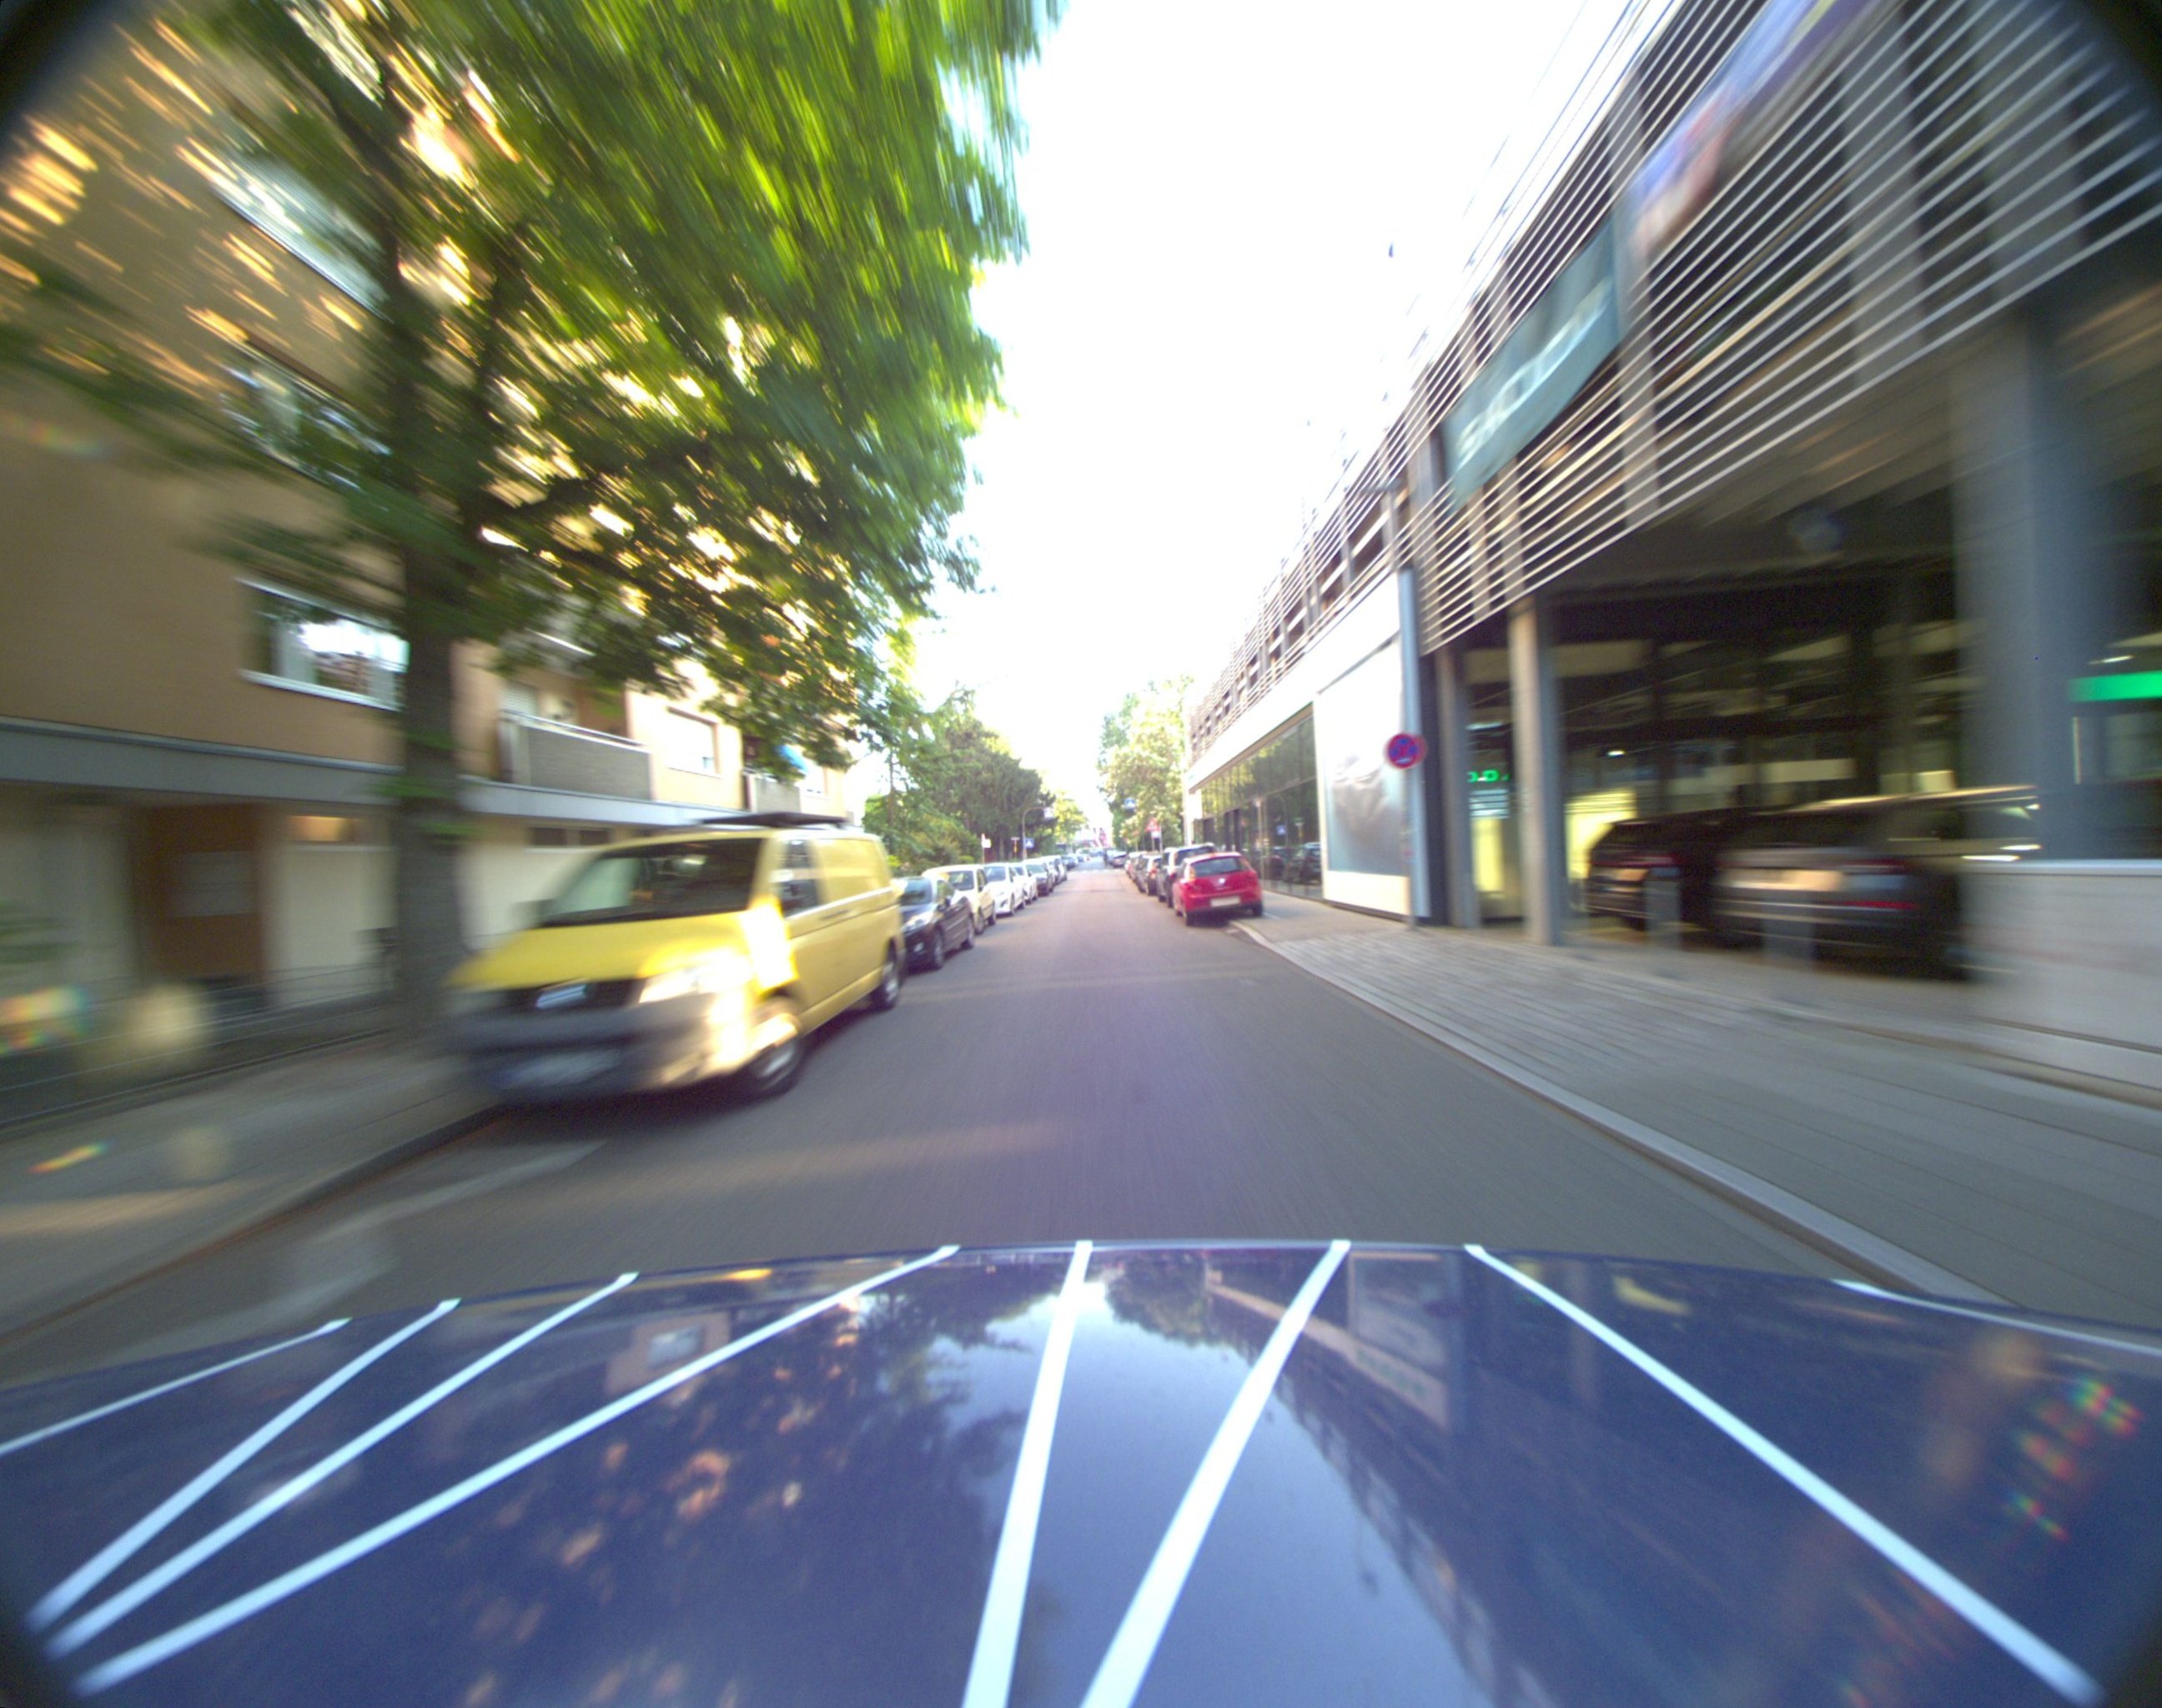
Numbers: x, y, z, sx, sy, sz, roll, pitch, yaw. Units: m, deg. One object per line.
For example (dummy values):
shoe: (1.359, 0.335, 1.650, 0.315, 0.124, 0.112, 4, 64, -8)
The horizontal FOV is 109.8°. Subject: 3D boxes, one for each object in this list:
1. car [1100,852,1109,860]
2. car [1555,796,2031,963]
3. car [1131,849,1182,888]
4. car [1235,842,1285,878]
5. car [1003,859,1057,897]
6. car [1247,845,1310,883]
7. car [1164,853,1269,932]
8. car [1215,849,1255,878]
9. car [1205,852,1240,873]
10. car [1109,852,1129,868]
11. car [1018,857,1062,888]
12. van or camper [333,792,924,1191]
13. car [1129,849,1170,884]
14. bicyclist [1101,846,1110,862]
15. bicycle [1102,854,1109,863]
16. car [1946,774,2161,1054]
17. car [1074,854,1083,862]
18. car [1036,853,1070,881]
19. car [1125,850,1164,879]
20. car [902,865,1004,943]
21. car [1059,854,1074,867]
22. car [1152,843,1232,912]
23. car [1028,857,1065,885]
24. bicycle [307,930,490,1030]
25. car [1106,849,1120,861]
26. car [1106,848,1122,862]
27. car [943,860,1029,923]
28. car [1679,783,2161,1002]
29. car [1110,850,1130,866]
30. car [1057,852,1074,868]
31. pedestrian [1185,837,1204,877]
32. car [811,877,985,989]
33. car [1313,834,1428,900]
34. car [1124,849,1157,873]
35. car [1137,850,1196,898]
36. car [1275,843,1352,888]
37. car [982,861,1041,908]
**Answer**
car: (5.169, 0.446, 166.266, 1.786, 1.772, 4.012, -2, 0, -1)
car: (8.578, 0.302, 9.491, 4.052, 1.674, 1.860, -3, 0, 2)
car: (3.352, 0.617, 34.271, 1.733, 1.394, 4.006, -8, 0, 0)
car: (9.045, 0.300, 38.670, 1.597, 1.640, 3.876, -3, 0, 1)
car: (-2.099, 0.957, 32.388, 1.814, 1.408, 4.626, -3, 0, 1)
car: (8.721, 0.410, 33.872, 1.701, 1.506, 4.192, -3, 0, 1)
car: (2.937, 0.783, 17.165, 1.701, 1.497, 3.791, -3, 0, 1)
car: (9.029, 0.541, 44.875, 1.597, 1.514, 3.876, -3, 0, 1)
car: (9.300, 0.553, 50.200, 1.597, 1.286, 3.451, -3, 0, 0)
car: (4.125, 0.679, 83.442, 1.786, 1.442, 3.884, -8, 0, -1)
car: (-2.011, 0.897, 38.173, 1.814, 1.408, 3.896, -3, 0, 2)
van or camper: (-3.005, 0.781, 6.713, 2.069, 2.083, 5.091, -3, 0, 0)
car: (3.454, 0.601, 38.945, 1.665, 1.488, 3.885, -8, 0, 2)
bicyclist: (2.881, 0.022, 89.373, 0.861, 1.797, 1.016, -3, 0, 0)
bicycle: (2.914, 0.540, 89.383, 0.761, 1.090, 1.864, -2, 0, 0)
car: (8.473, 0.258, 4.660, 4.045, 1.674, 1.860, -3, 0, 2)
car: (-0.555, 0.851, 174.205, 1.999, 1.739, 4.000, -4, 0, -1)
car: (-1.703, 0.796, 47.512, 1.814, 1.566, 3.885, -3, 0, 1)
car: (3.738, 0.604, 45.065, 1.666, 1.402, 3.926, -8, 0, -2)
car: (-2.815, 1.057, 17.420, 1.613, 1.501, 3.478, -3, 0, 1)
car: (-1.775, 0.803, 95.012, 1.786, 1.491, 3.884, 1, 0, -1)
car: (3.149, 0.623, 22.391, 1.701, 1.746, 4.403, -3, 0, 1)
car: (-1.876, 0.924, 42.669, 1.721, 1.411, 4.028, -3, 0, 1)
bicycle: (-8.250, 1.479, 9.308, 0.524, 0.916, 1.835, -3, 0, 1)
car: (5.487, 0.170, 129.906, 1.964, 1.825, 3.884, -8, 0, -1)
car: (4.502, 0.153, 103.486, 1.786, 1.562, 3.884, -8, 0, -1)
car: (-2.649, 1.012, 22.114, 1.796, 1.553, 4.194, -3, 0, 1)
car: (8.483, 0.283, 7.120, 4.175, 1.674, 1.860, -3, 0, 2)
car: (4.481, 0.436, 88.101, 1.786, 1.568, 3.884, -8, 0, -1)
car: (-1.700, 0.660, 83.324, 1.786, 1.743, 3.884, -1, 0, -1)
pedestrian: (5.404, 0.150, 36.269, 0.722, 1.867, 0.620, -3, 0, 2)
car: (-2.746, 1.139, 12.350, 1.610, 1.373, 4.001, -3, -1, 3)
car: (8.313, 0.344, 22.284, 1.701, 1.649, 4.410, -3, 0, 1)
car: (4.266, 0.532, 55.246, 1.666, 1.505, 3.883, -6, 0, -5)
car: (3.185, 0.722, 29.038, 1.941, 1.587, 4.206, -3, -1, 3)
car: (8.707, 0.417, 28.776, 1.701, 1.506, 3.994, -3, 0, 2)
car: (-2.413, 1.025, 27.313, 1.613, 1.452, 4.054, -3, 0, 1)
